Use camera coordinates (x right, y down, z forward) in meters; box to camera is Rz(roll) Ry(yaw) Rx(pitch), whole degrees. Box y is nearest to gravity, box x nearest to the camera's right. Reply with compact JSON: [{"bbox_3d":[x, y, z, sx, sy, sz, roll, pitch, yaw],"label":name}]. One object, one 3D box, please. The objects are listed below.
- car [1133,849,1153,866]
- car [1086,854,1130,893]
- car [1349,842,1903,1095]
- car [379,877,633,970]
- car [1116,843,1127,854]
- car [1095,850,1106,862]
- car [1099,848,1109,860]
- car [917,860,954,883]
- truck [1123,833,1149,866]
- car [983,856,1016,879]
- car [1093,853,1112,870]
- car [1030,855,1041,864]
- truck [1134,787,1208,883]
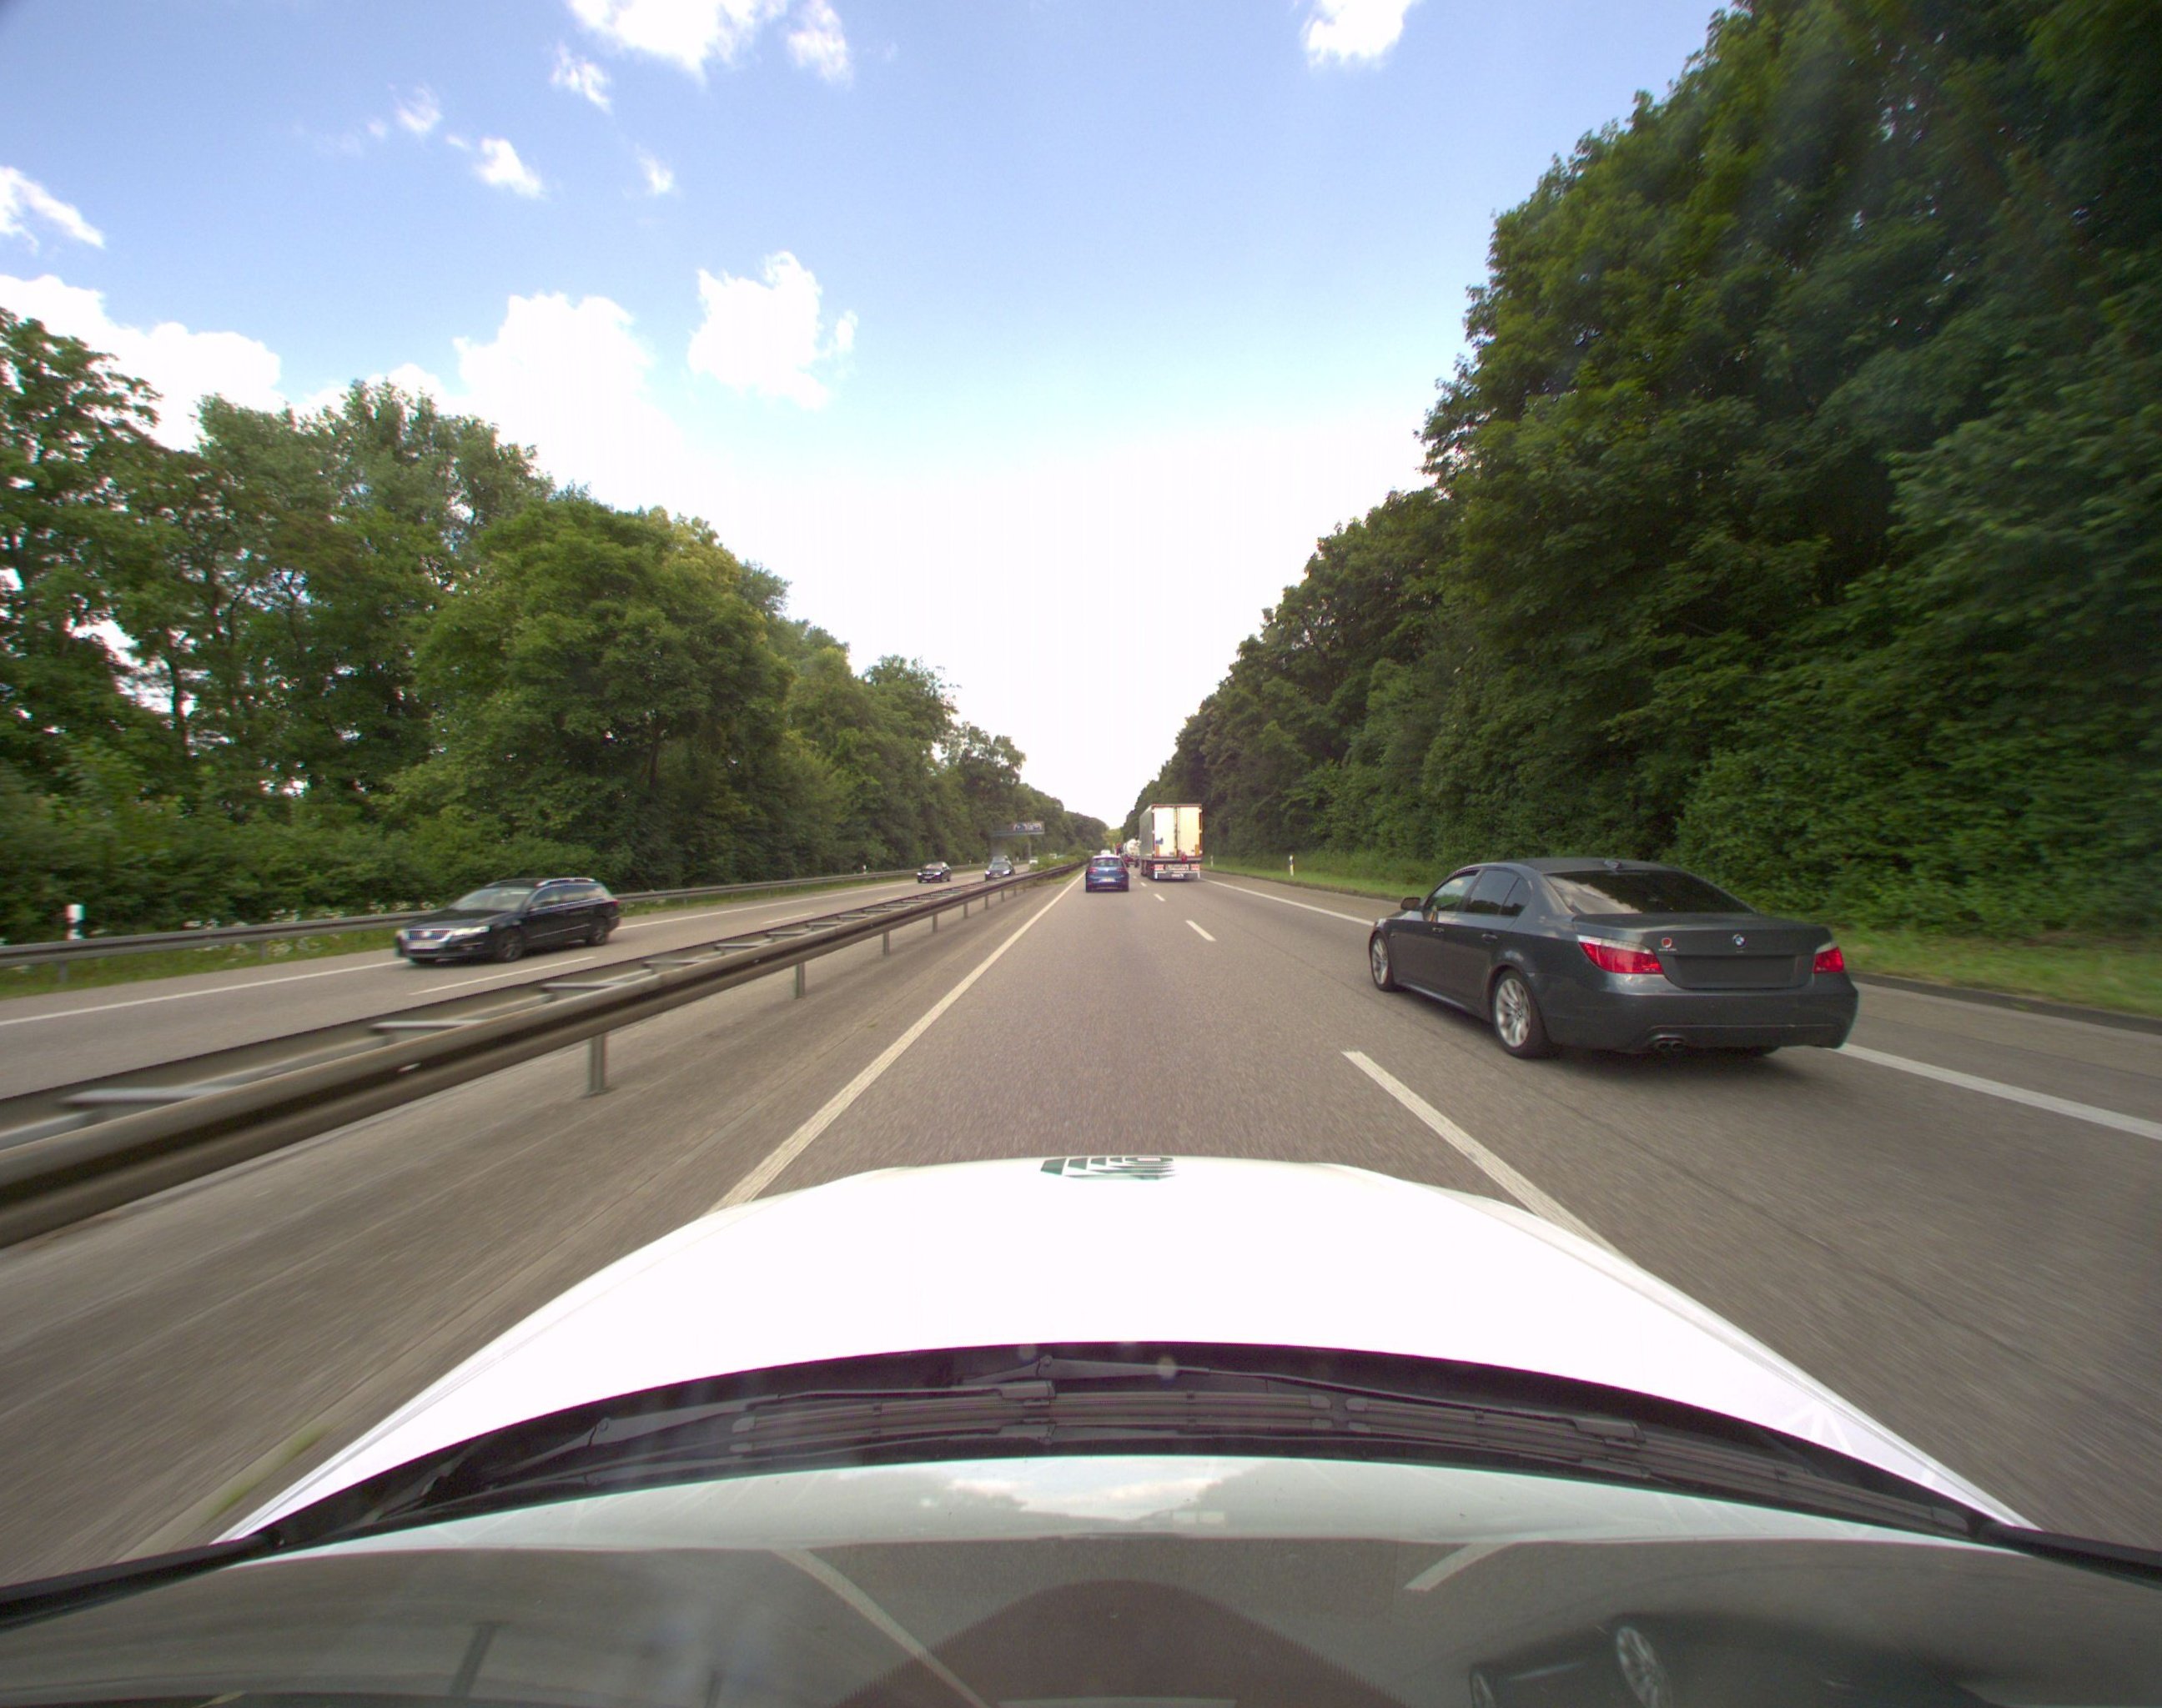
[{"bbox_3d":[6.580,0.365,86.256,1.881,1.729,4.002,-2,0,2],"label":"car"},{"bbox_3d":[1.095,0.757,33.674,1.699,1.470,4.001,-1,0,1],"label":"car"},{"bbox_3d":[4.033,0.672,7.268,1.768,1.475,4.882,-1,0,1],"label":"car"},{"bbox_3d":[-11.422,1.300,16.676,1.778,1.478,4.572,-1,0,3],"label":"car"},{"bbox_3d":[8.574,-1.165,171.636,1.988,2.327,4.440,-2,0,-1],"label":"car"},{"bbox_3d":[3.527,0.331,147.806,1.986,2.013,4.001,-2,0,1],"label":"car"},{"bbox_3d":[4.814,-0.017,170.574,1.988,2.255,4.440,-2,0,-1],"label":"car"},{"bbox_3d":[-10.508,1.225,59.220,1.674,1.519,4.860,-2,0,1],"label":"car"},{"bbox_3d":[7.636,-0.518,115.154,3.220,4.386,12.976,-1,0,2],"label":"truck"},{"bbox_3d":[-5.783,0.944,58.181,1.774,1.519,4.267,-2,0,1],"label":"car"},{"bbox_3d":[1.979,0.673,73.731,1.659,1.500,4.154,-1,0,2],"label":"car"},{"bbox_3d":[-7.868,0.950,140.223,1.531,1.396,3.512,-2,0,1],"label":"car"},{"bbox_3d":[4.897,-1.003,46.738,3.229,4.715,11.012,-2,0,2],"label":"truck"}]
